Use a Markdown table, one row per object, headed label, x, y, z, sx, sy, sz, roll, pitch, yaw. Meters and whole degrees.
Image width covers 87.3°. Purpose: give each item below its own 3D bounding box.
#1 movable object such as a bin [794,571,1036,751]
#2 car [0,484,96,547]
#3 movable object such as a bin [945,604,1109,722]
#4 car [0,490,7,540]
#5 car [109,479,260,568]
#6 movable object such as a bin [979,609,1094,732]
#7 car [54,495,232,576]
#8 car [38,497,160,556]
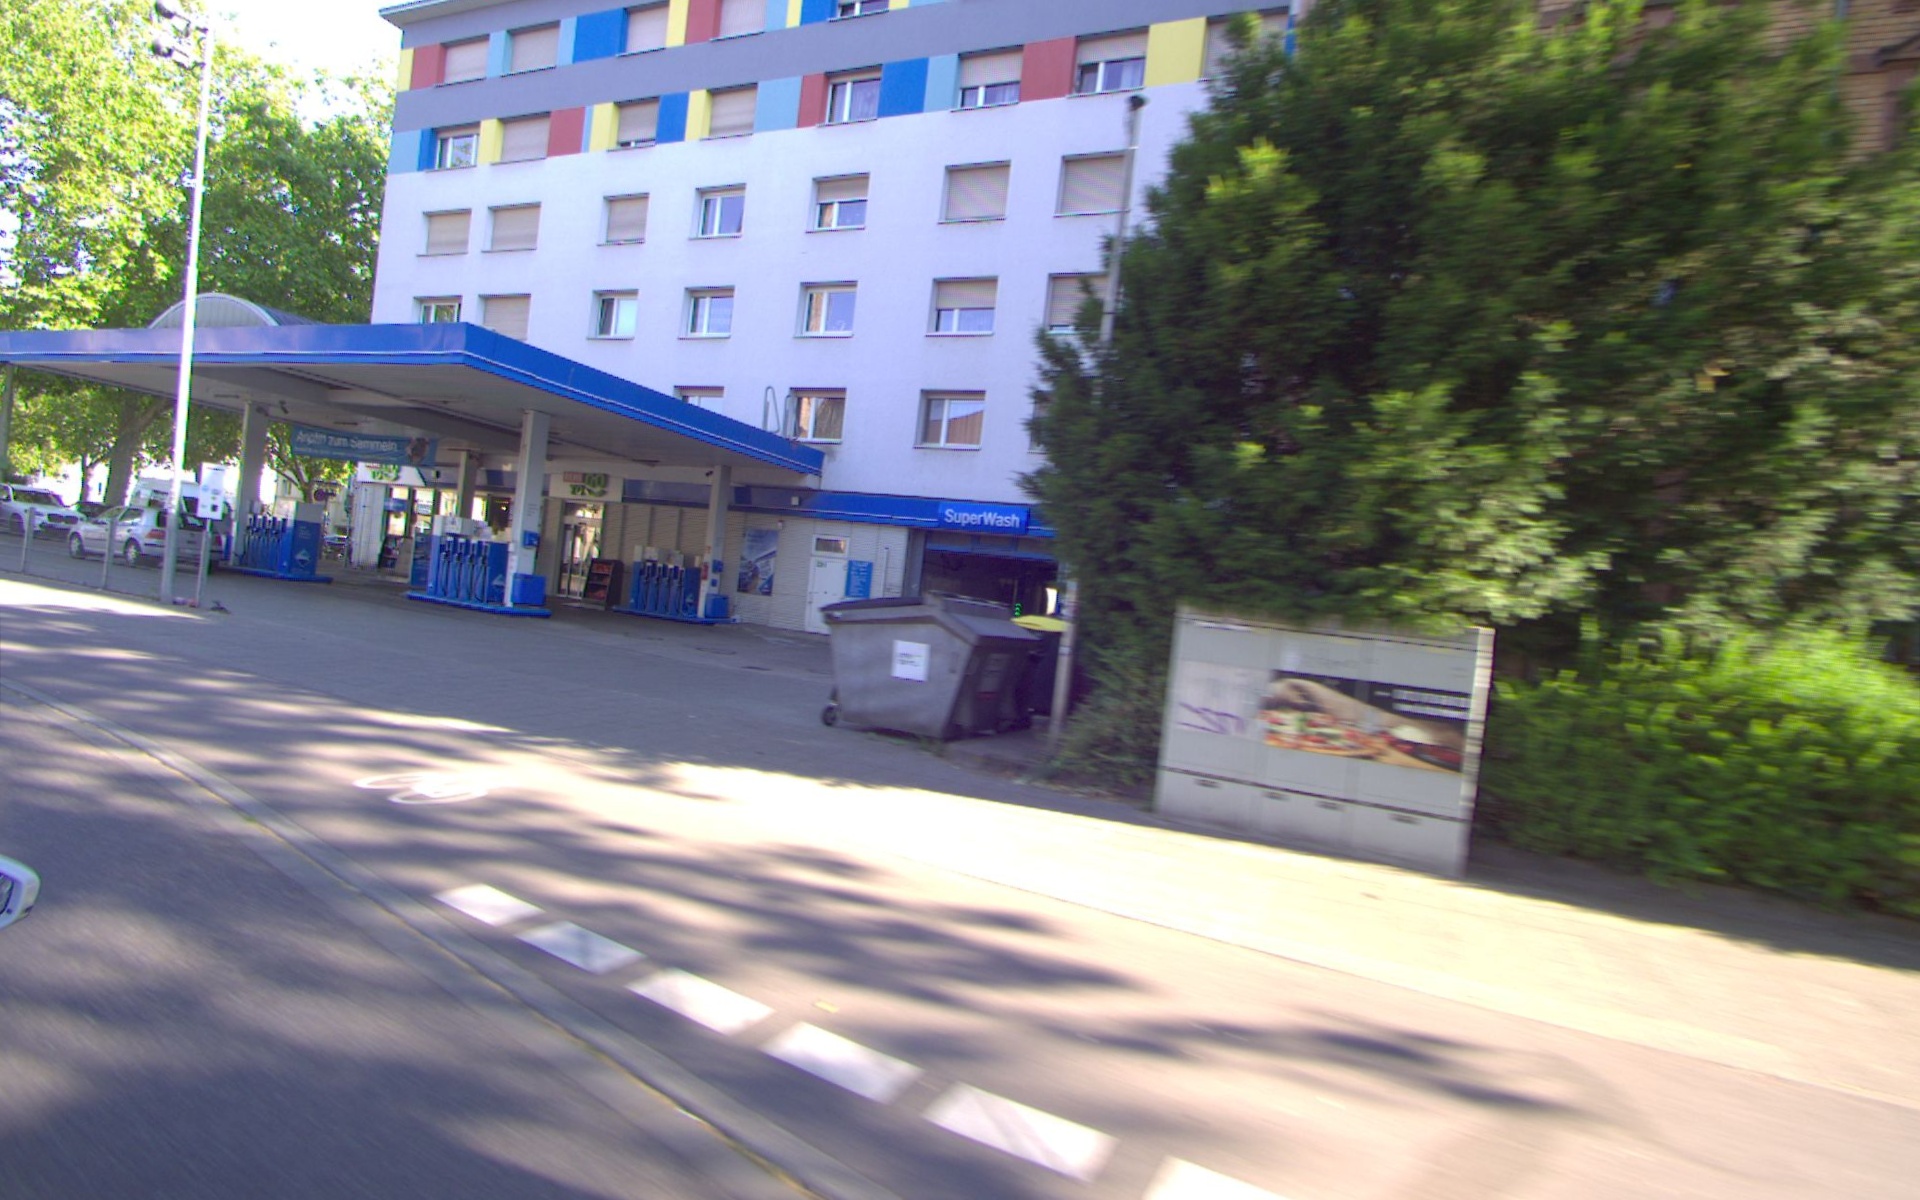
| label | x | y | z | sx | sy | sz | roll | pitch | yaw |
| --- | --- | --- | --- | --- | --- | --- | --- | --- | --- |
| movable object such as a bin | -0.398 | 0.614 | 10.538 | 1.714 | 1.509 | 2.042 | 7 | -1 | 21 |
| car | -32.391 | -3.024 | 34.852 | 4.712 | 1.756 | 1.865 | 8 | 0 | 25 |
| movable object such as a bin | 1.071 | 0.930 | 15.149 | 1.745 | 1.440 | 2.216 | 7 | -1 | 22 |
| car | -33.961 | -3.114 | 33.230 | 4.577 | 1.622 | 1.823 | 8 | 0 | 23 |
| car | -30.926 | -3.059 | 40.090 | 5.693 | 2.868 | 2.246 | 6 | 0 | 25 |
| movable object such as a bin | 1.009 | 0.899 | 13.017 | 1.010 | 1.406 | 1.189 | 7 | 0 | 23 |
| car | -19.407 | -1.542 | 23.880 | 4.025 | 1.448 | 1.571 | 6 | 0 | 25 |
| car | -31.602 | -2.713 | 36.928 | 3.928 | 1.589 | 1.865 | 8 | 0 | 25 |
